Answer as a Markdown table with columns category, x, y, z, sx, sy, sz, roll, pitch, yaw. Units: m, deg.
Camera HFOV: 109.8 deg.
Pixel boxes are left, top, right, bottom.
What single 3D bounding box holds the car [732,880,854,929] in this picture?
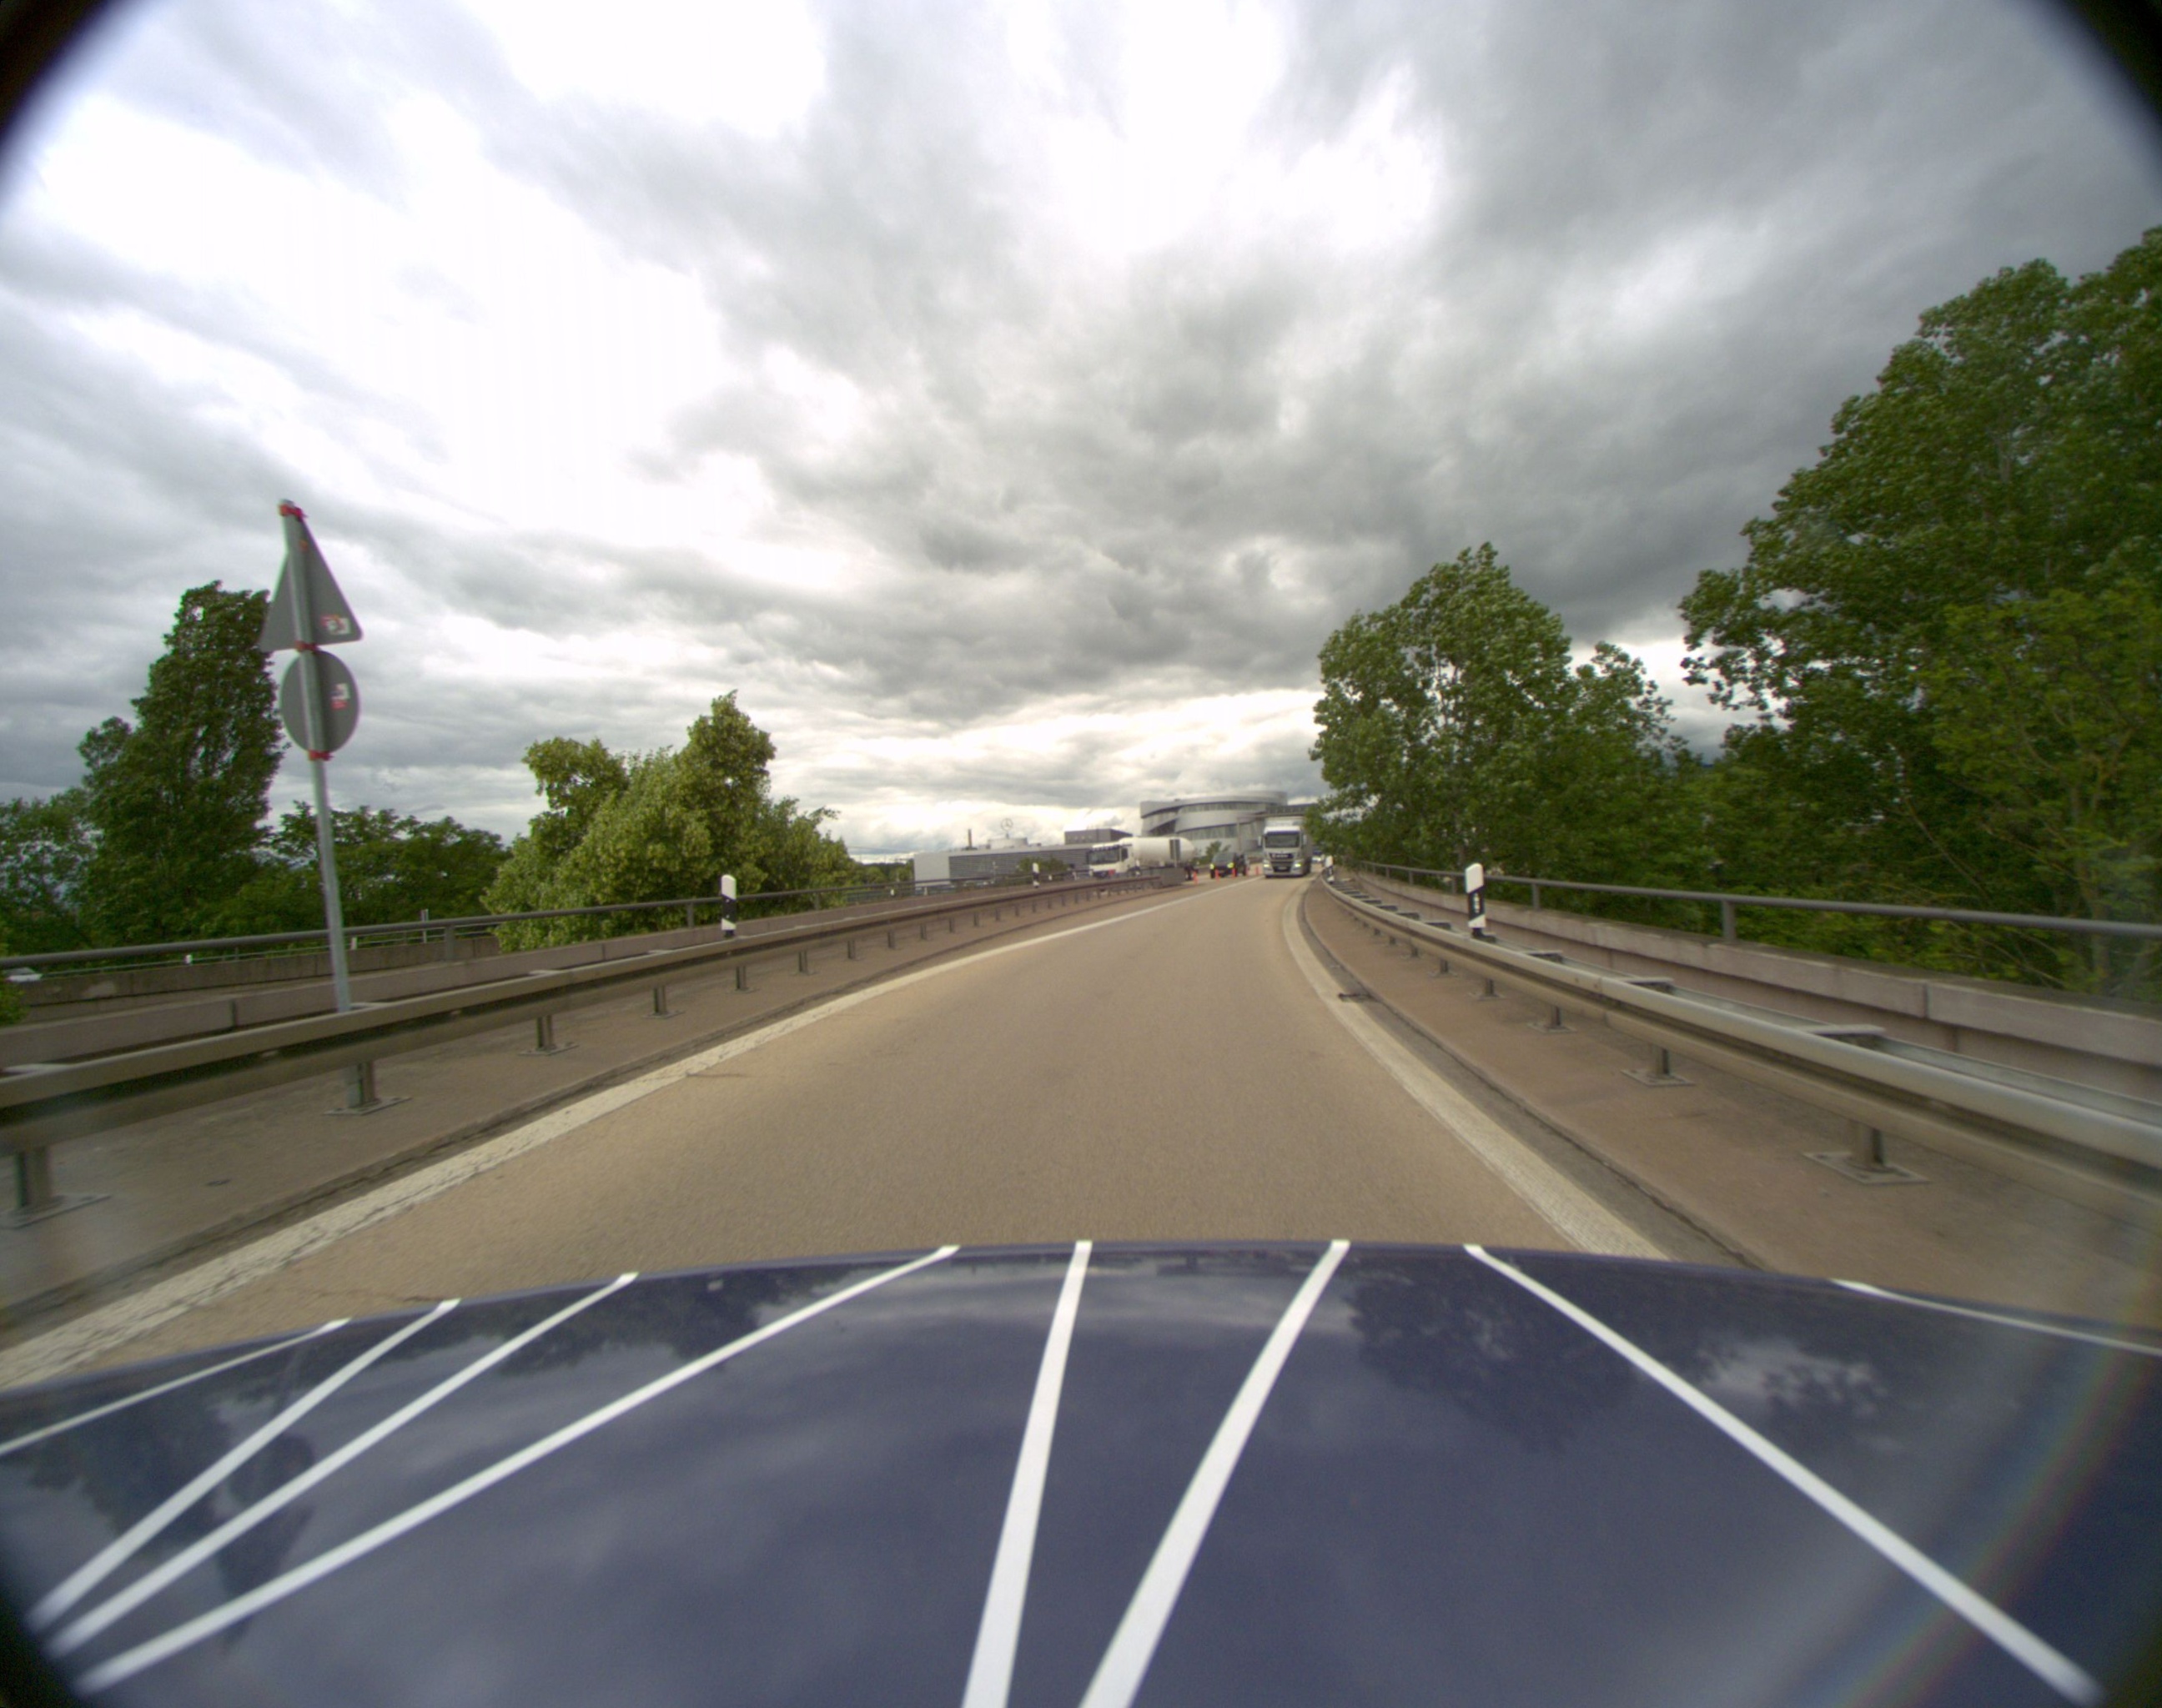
| category | x | y | z | sx | sy | sz | roll | pitch | yaw |
| --- | --- | --- | --- | --- | --- | --- | --- | --- | --- |
| car | -10.950 | 1.921 | 28.945 | 3.940 | 1.400 | 1.787 | -5 | -2 | -33 |

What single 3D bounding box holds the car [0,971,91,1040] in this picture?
| category | x | y | z | sx | sy | sz | roll | pitch | yaw |
| --- | --- | --- | --- | --- | --- | --- | --- | --- | --- |
| car | -28.375 | 4.006 | 19.068 | 4.002 | 1.471 | 1.736 | -5 | -1 | -16 |

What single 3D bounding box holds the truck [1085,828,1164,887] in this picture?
| category | x | y | z | sx | sy | sz | roll | pitch | yaw |
| --- | --- | --- | --- | --- | --- | --- | --- | --- | --- |
| truck | 2.978 | 0.179 | 50.102 | 2.730 | 3.624 | 6.211 | -2 | 0 | 27 |

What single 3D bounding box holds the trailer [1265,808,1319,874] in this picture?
| category | x | y | z | sx | sy | sz | roll | pitch | yaw |
| --- | --- | --- | --- | --- | --- | --- | --- | --- | --- |
| trailer | 15.862 | -0.973 | 56.277 | 2.743 | 4.213 | 13.465 | -2 | 0 | 20 |

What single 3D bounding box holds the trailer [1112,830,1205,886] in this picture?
| category | x | y | z | sx | sy | sz | roll | pitch | yaw |
| --- | --- | --- | --- | --- | --- | --- | --- | --- | --- |
| trailer | 5.916 | 0.160 | 55.655 | 2.742 | 3.628 | 11.023 | -2 | 0 | 28 |

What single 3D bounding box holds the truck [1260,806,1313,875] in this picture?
| category | x | y | z | sx | sy | sz | roll | pitch | yaw |
| --- | --- | --- | --- | --- | --- | --- | --- | --- | --- |
| truck | 13.699 | -0.866 | 50.383 | 2.731 | 4.204 | 6.209 | -2 | 0 | 20 |

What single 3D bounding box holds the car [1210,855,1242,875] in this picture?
| category | x | y | z | sx | sy | sz | roll | pitch | yaw |
| --- | --- | --- | --- | --- | --- | --- | --- | --- | --- |
| car | 11.107 | 0.810 | 58.128 | 1.786 | 1.401 | 3.806 | -2 | 0 | 19 |
